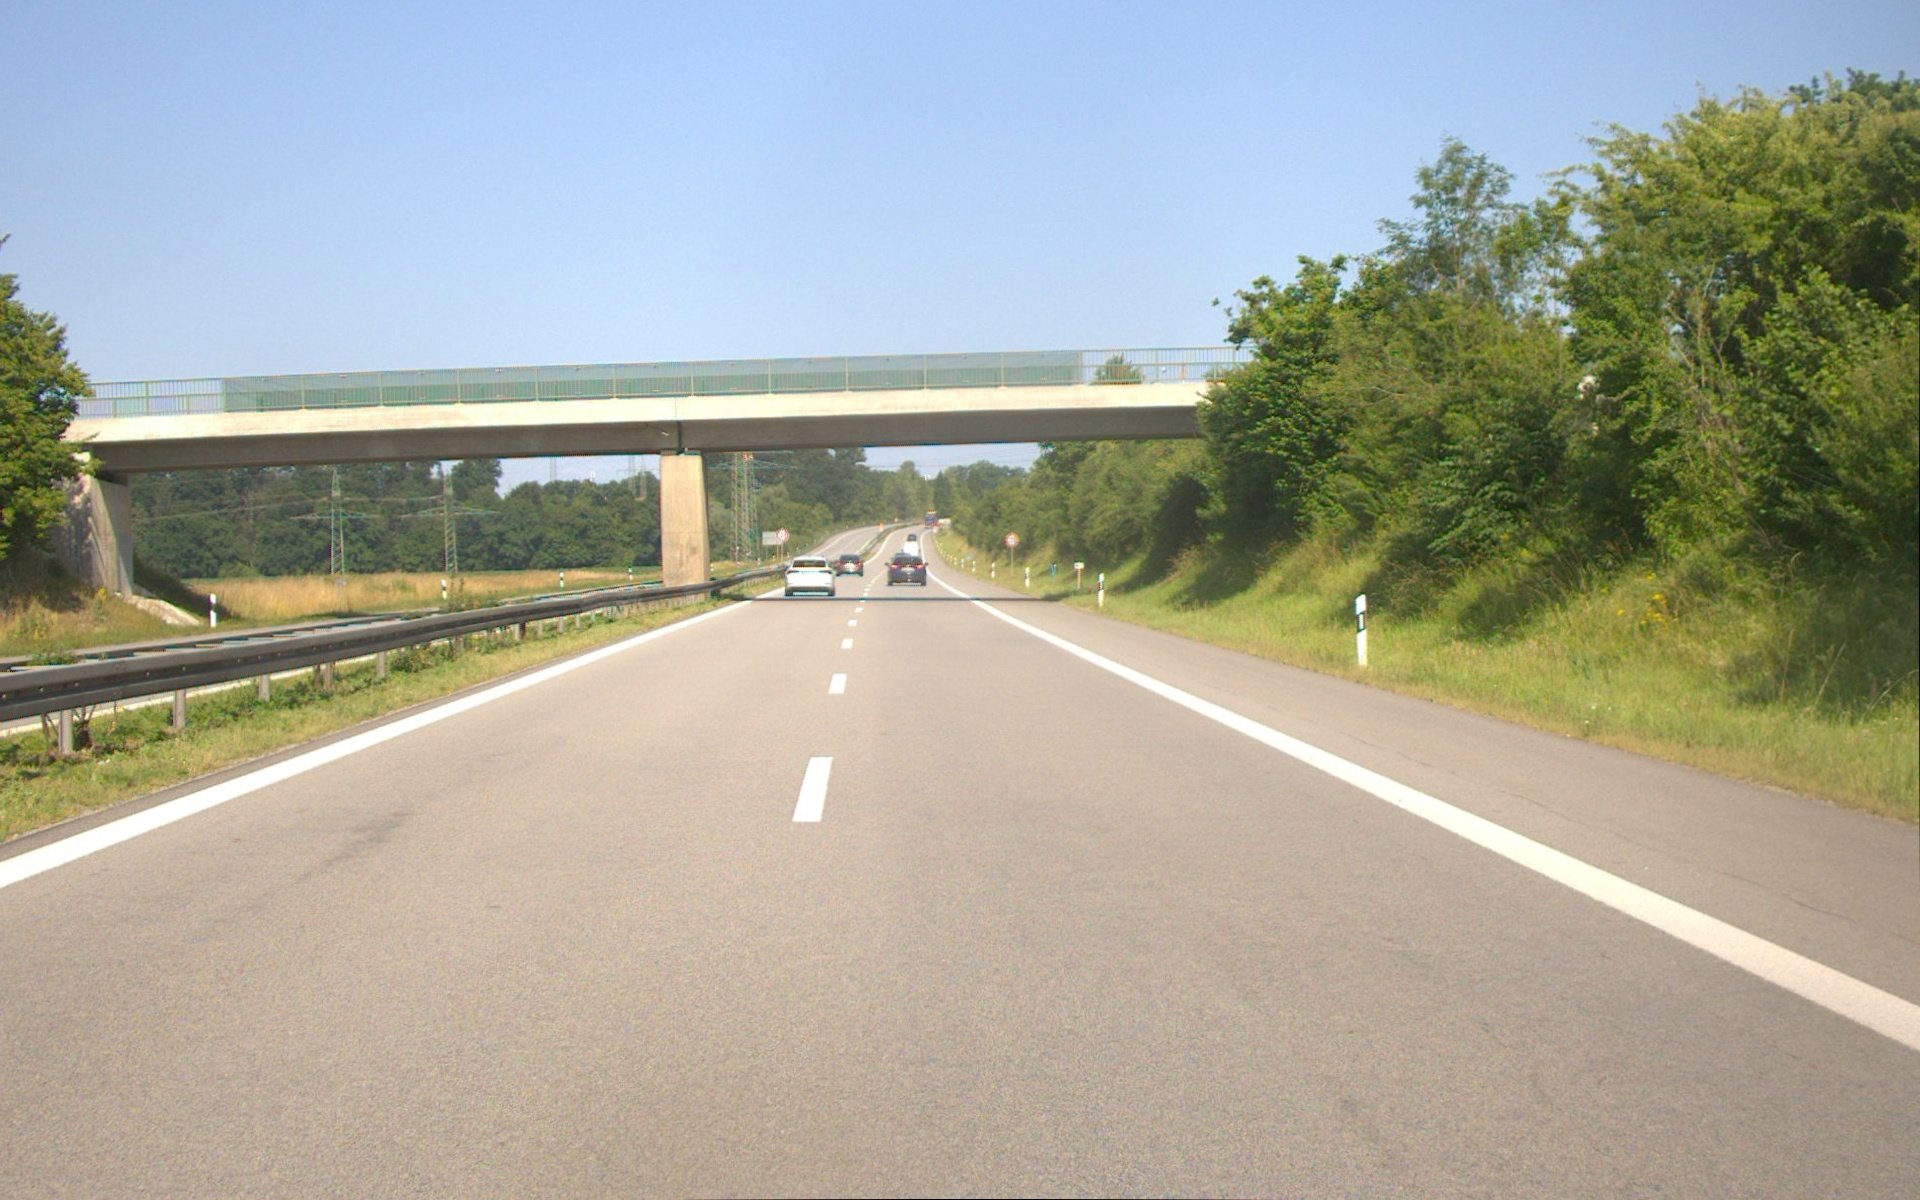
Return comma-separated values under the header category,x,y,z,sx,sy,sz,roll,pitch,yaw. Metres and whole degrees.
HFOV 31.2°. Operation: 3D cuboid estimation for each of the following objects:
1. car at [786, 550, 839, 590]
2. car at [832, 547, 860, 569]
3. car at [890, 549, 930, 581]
category,x,y,z,sx,sy,sz,roll,pitch,yaw
car,-5.340,-1.089,124.456,1.843,1.411,4.000,1,1,-2
car,-7.662,-2.838,231.380,1.843,1.431,4.000,1,1,-2
car,-2.426,-1.678,164.634,1.843,1.515,4.000,1,1,-2
